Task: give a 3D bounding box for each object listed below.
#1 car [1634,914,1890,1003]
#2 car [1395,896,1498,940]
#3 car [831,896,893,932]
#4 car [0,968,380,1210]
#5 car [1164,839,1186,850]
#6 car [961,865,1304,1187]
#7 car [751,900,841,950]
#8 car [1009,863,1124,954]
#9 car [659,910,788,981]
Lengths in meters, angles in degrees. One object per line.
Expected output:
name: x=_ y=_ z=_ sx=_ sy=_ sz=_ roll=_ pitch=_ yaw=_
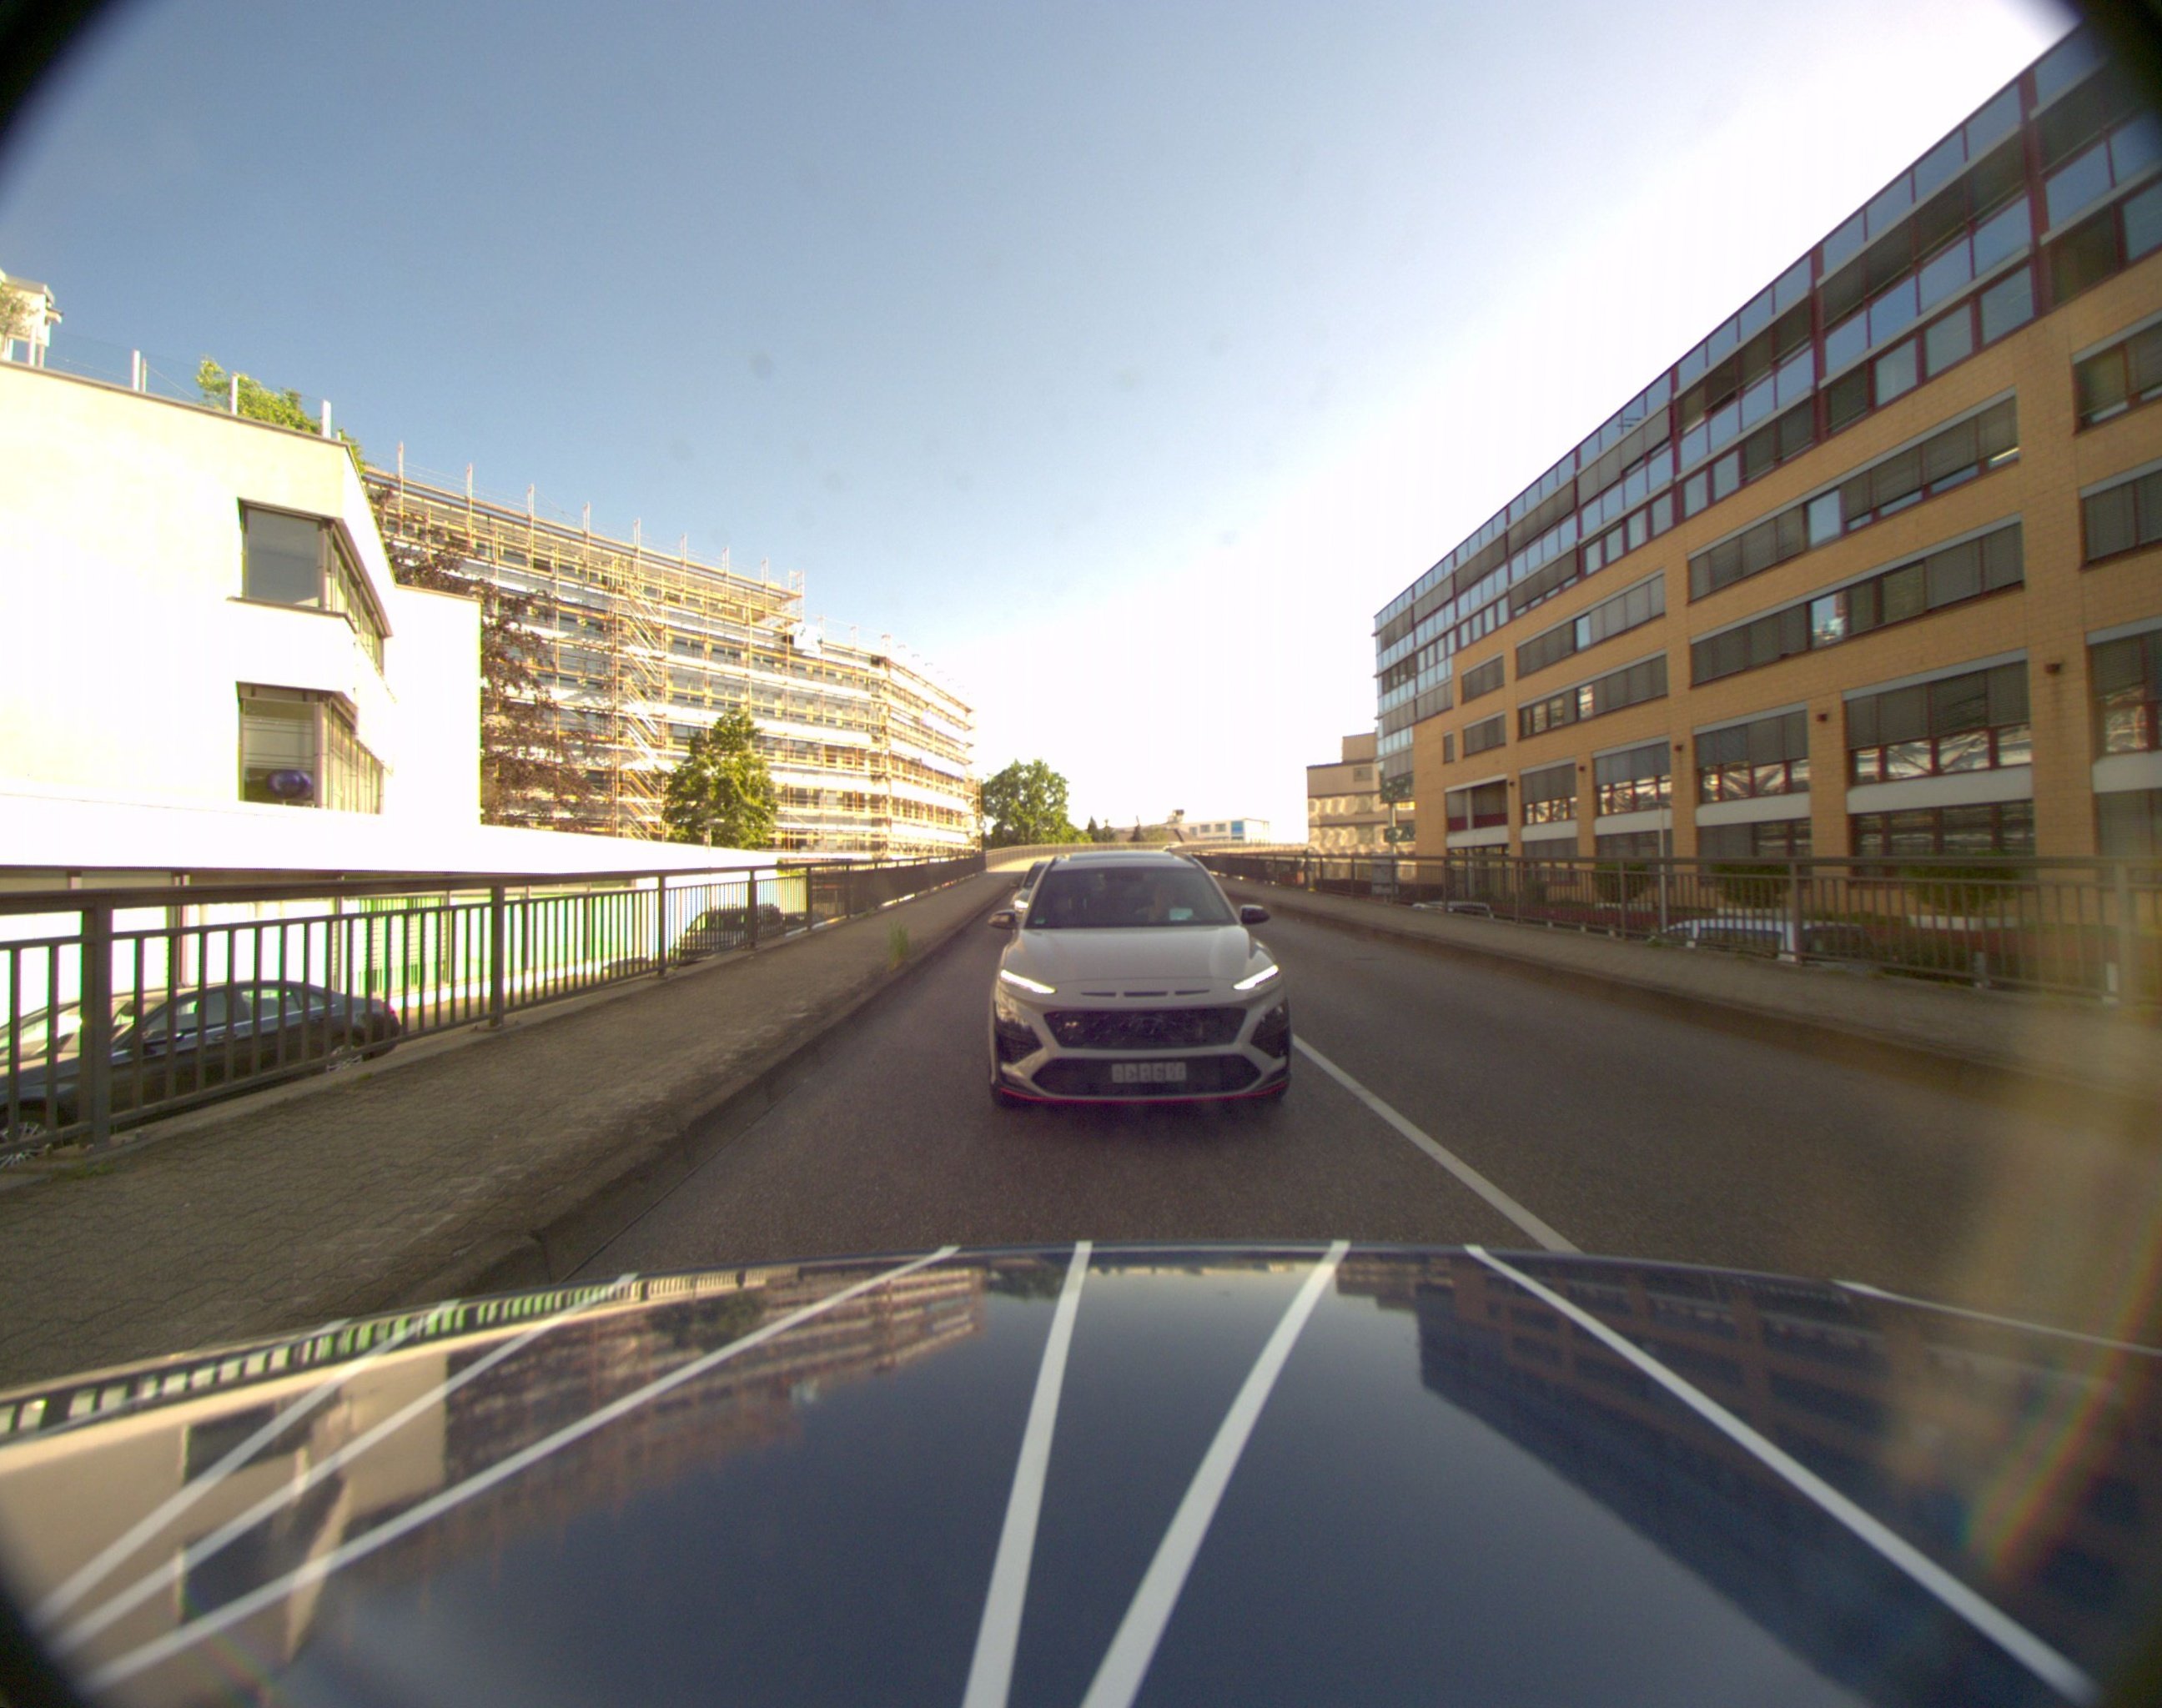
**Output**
car: x=13.050 y=1.940 z=14.918 sx=1.580 sy=1.261 sz=3.809 roll=0 pitch=-1 yaw=-1
car: x=12.744 y=2.195 z=26.767 sx=1.766 sy=1.261 sz=3.809 roll=0 pitch=-1 yaw=-1
car: x=-10.211 y=2.778 z=35.674 sx=1.726 sy=1.383 sz=4.000 roll=-2 pitch=-1 yaw=-1
car: x=-9.596 y=2.170 z=7.414 sx=1.726 sy=1.513 sz=4.001 roll=-2 pitch=-1 yaw=1
car: x=13.627 y=-1.451 z=110.480 sx=1.948 sy=1.456 sz=4.006 roll=4 pitch=3 yaw=25
car: x=0.289 y=0.909 z=5.889 sx=1.749 sy=1.637 sz=4.001 roll=0 pitch=-1 yaw=1
car: x=-10.088 y=2.482 z=27.213 sx=1.726 sy=1.383 sz=4.000 roll=-2 pitch=-1 yaw=-1
car: x=-0.286 y=0.936 z=14.736 sx=1.902 sy=1.433 sz=4.126 roll=0 pitch=0 yaw=-1
car: x=-9.907 y=2.475 z=21.425 sx=1.726 sy=1.513 sz=4.000 roll=-2 pitch=-1 yaw=-1
